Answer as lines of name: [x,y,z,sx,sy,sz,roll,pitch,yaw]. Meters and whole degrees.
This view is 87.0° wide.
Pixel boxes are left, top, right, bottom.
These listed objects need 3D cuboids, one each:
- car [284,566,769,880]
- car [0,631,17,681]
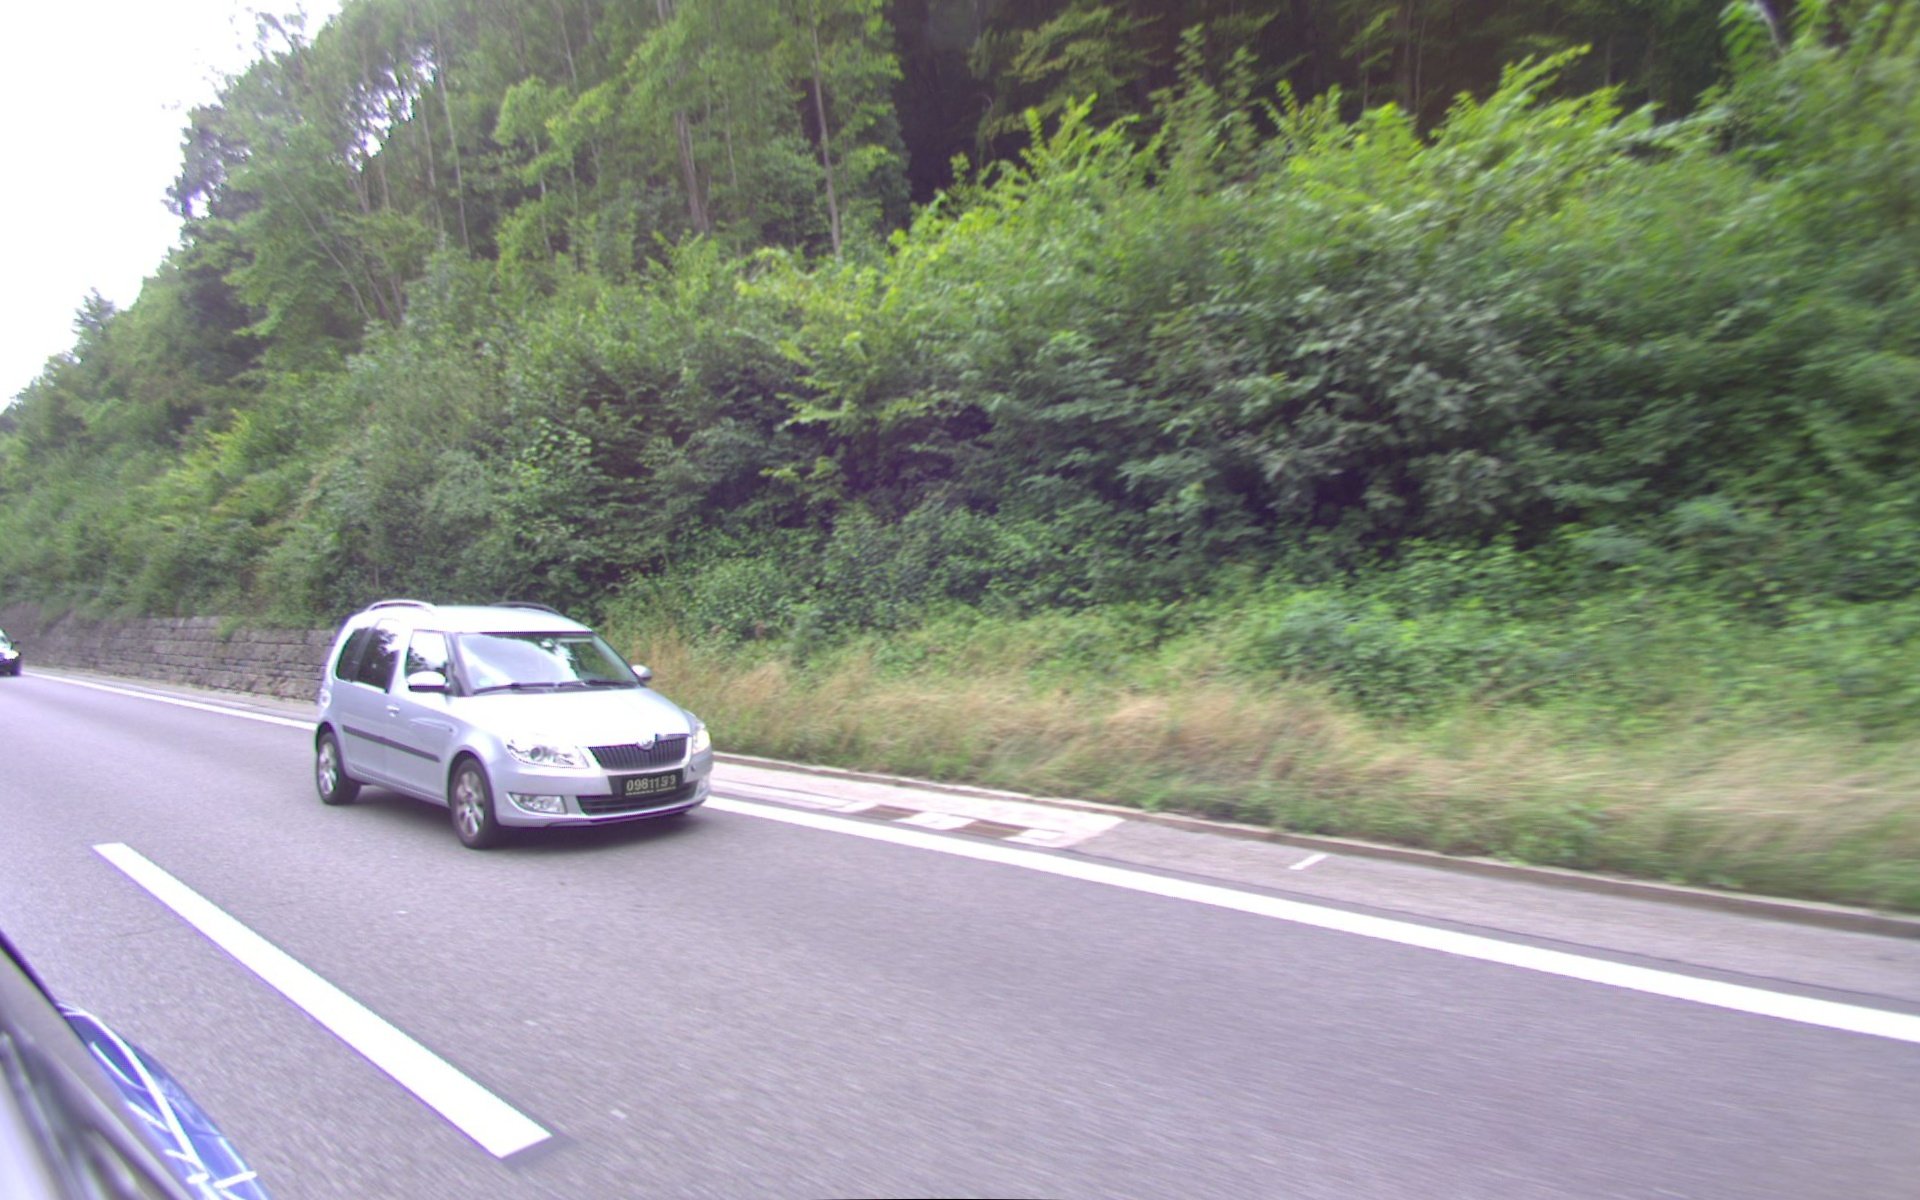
car: [-3.474,0.768,7.689,4.342,1.740,1.617,-2,-4,41]
car: [-30.842,1.730,31.498,5.122,1.475,1.741,-3,-5,43]
